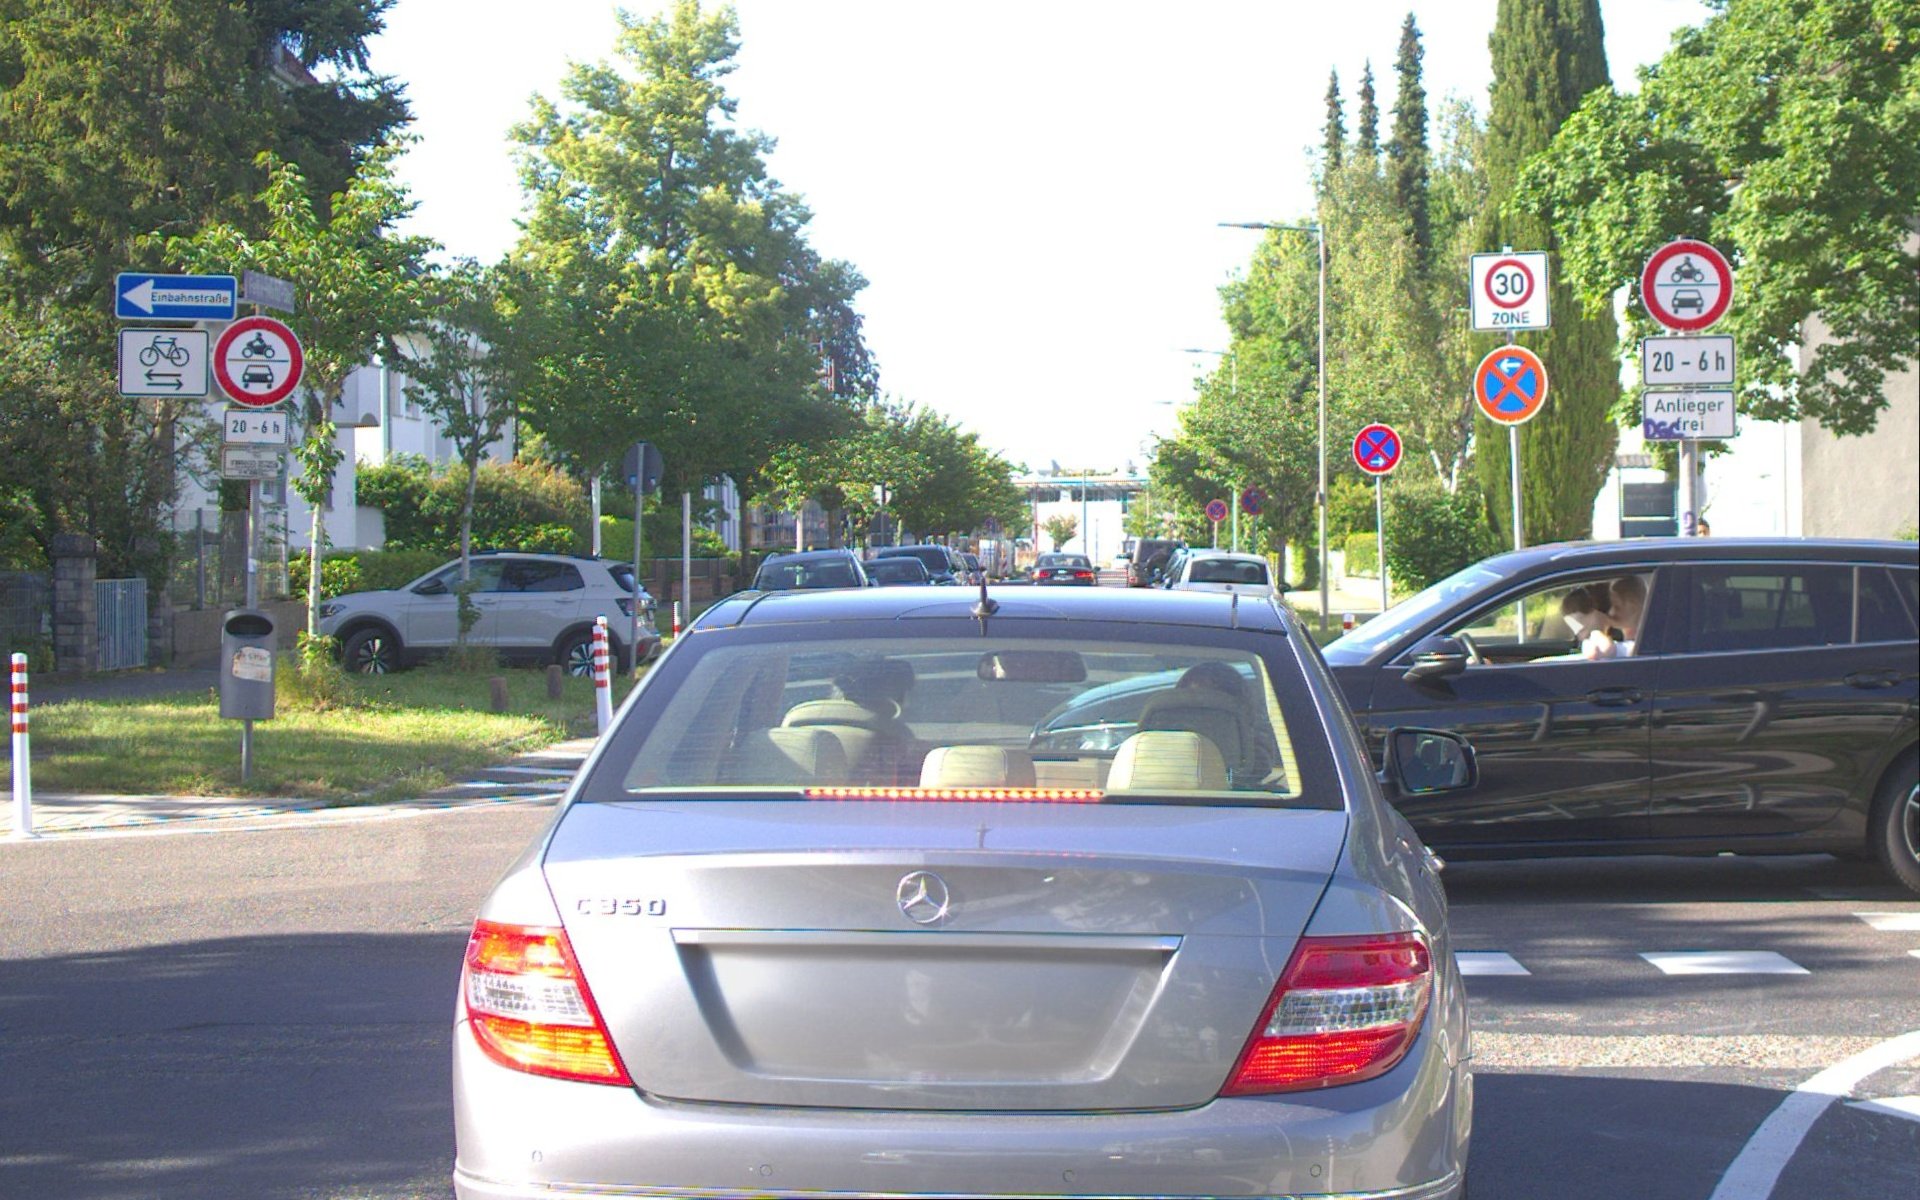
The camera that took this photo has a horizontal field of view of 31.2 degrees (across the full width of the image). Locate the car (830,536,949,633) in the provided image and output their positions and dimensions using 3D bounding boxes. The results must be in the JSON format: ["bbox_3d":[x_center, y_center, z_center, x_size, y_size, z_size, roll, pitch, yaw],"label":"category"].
[{"bbox_3d":[-1.261,-0.312,63.289,1.993,1.604,4.000,-4,1,0],"label":"car"}]

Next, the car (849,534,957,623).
[{"bbox_3d":[-1.109,-0.458,69.080,1.993,1.604,4.000,-4,1,0],"label":"car"}]

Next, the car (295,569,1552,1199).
[{"bbox_3d":[0.051,0.668,7.016,1.836,1.436,4.000,0,1,3],"label":"car"}]

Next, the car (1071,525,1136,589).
[{"bbox_3d":[4.285,-1.305,103.167,1.855,1.835,4.000,-1,1,2],"label":"car"}]

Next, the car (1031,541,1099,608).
[{"bbox_3d":[2.614,-0.665,86.150,1.597,1.604,3.644,-1,1,0],"label":"car"}]

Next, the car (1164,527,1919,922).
[{"bbox_3d":[3.307,0.462,14.618,4.740,1.519,2.000,-1,1,0],"label":"car"}]

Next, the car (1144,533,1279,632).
[{"bbox_3d":[4.229,-0.324,58.307,1.993,1.604,4.000,-1,1,0],"label":"car"}]

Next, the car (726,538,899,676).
[{"bbox_3d":[-1.899,0.049,45.494,1.993,1.604,4.000,-4,1,0],"label":"car"}]

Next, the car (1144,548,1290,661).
[{"bbox_3d":[3.517,0.032,47.576,1.733,1.474,3.725,-1,1,0],"label":"car"}]

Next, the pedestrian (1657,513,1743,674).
[{"bbox_3d":[7.518,-0.071,34.947,0.766,1.605,0.834,-1,1,7],"label":"pedestrian"}]

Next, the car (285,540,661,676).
[{"bbox_3d":[-5.685,0.082,40.494,4.192,1.558,1.842,0,1,-1],"label":"car"}]
